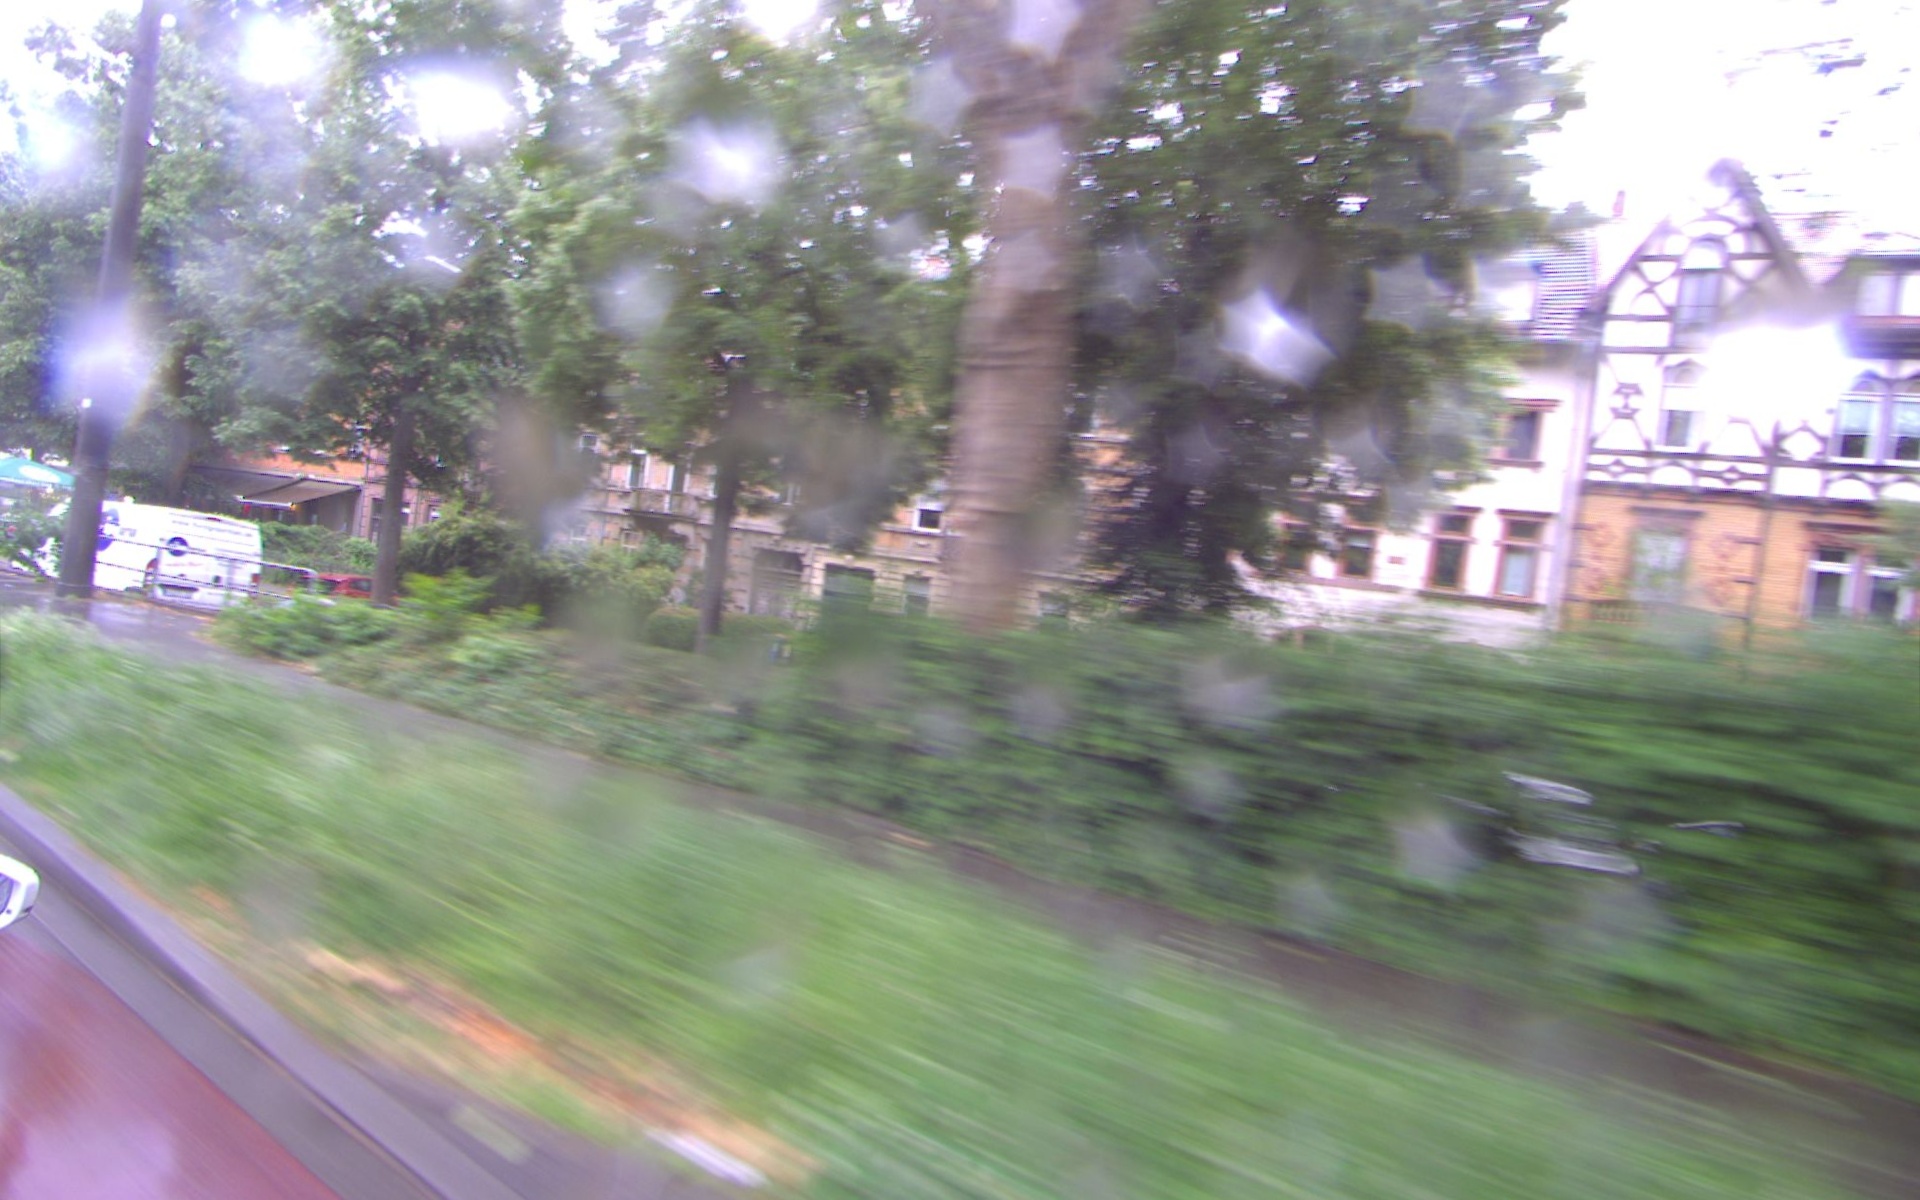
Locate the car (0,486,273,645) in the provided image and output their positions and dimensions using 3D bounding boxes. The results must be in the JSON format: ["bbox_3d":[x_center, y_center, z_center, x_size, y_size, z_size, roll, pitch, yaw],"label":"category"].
[{"bbox_3d":[-17.438,-0.746,21.157,5.674,2.564,2.184,8,1,25],"label":"car"}]

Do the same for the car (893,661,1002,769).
[{"bbox_3d":[-0.368,2.306,21.029,1.883,1.578,3.799,7,0,-4],"label":"car"}]

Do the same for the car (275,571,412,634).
[{"bbox_3d":[-17.343,0.051,28.522,1.679,1.455,3.668,7,0,-4],"label":"car"}]

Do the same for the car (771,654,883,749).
[{"bbox_3d":[-2.754,2.095,21.698,1.694,1.402,4.122,8,0,1],"label":"car"}]

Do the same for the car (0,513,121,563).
[{"bbox_3d":[-32.951,-2.234,36.803,1.862,1.497,3.986,7,0,-16],"label":"car"}]

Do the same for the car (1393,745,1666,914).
[{"bbox_3d":[8.941,3.560,16.238,1.883,1.623,3.799,7,0,-4],"label":"car"}]

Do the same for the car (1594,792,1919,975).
[{"bbox_3d":[11.716,4.052,14.919,1.883,1.433,3.799,7,0,-4],"label":"car"}]
